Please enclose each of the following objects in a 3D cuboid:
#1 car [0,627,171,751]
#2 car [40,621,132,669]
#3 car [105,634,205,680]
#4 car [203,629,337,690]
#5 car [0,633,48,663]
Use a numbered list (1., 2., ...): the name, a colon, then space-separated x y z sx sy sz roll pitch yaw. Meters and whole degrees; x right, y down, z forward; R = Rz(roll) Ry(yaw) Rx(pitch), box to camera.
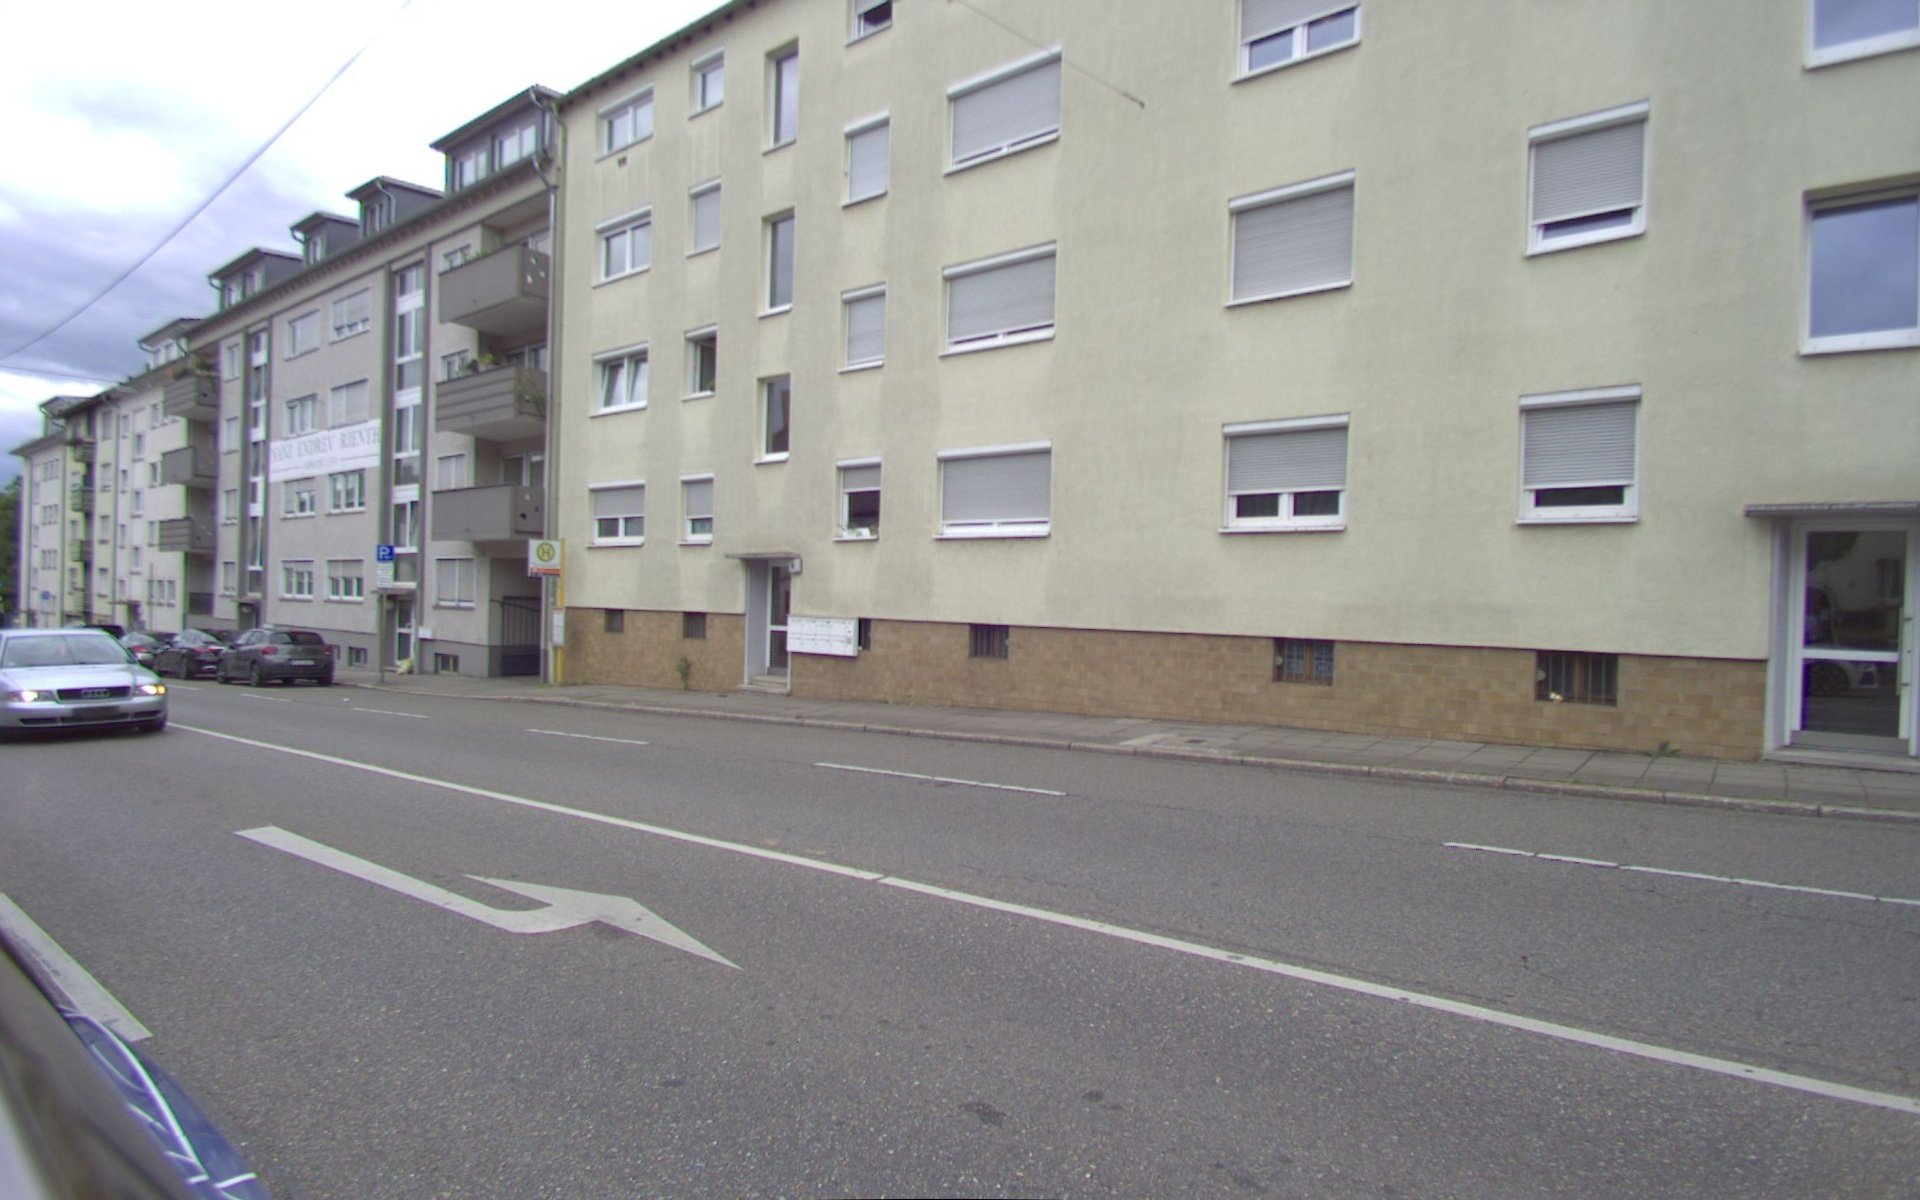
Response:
1. car: -12.098 1.093 13.413 4.172 1.383 1.680 -2 -2 39
2. car: -33.652 1.718 38.941 4.302 1.767 1.852 -1 -4 39
3. car: -26.339 1.818 33.079 4.304 1.416 1.750 -2 -2 40
4. car: -17.830 1.504 26.108 3.797 1.447 1.751 -1 -4 38
5. car: -46.440 2.322 49.716 4.305 1.391 1.851 -1 -4 41
